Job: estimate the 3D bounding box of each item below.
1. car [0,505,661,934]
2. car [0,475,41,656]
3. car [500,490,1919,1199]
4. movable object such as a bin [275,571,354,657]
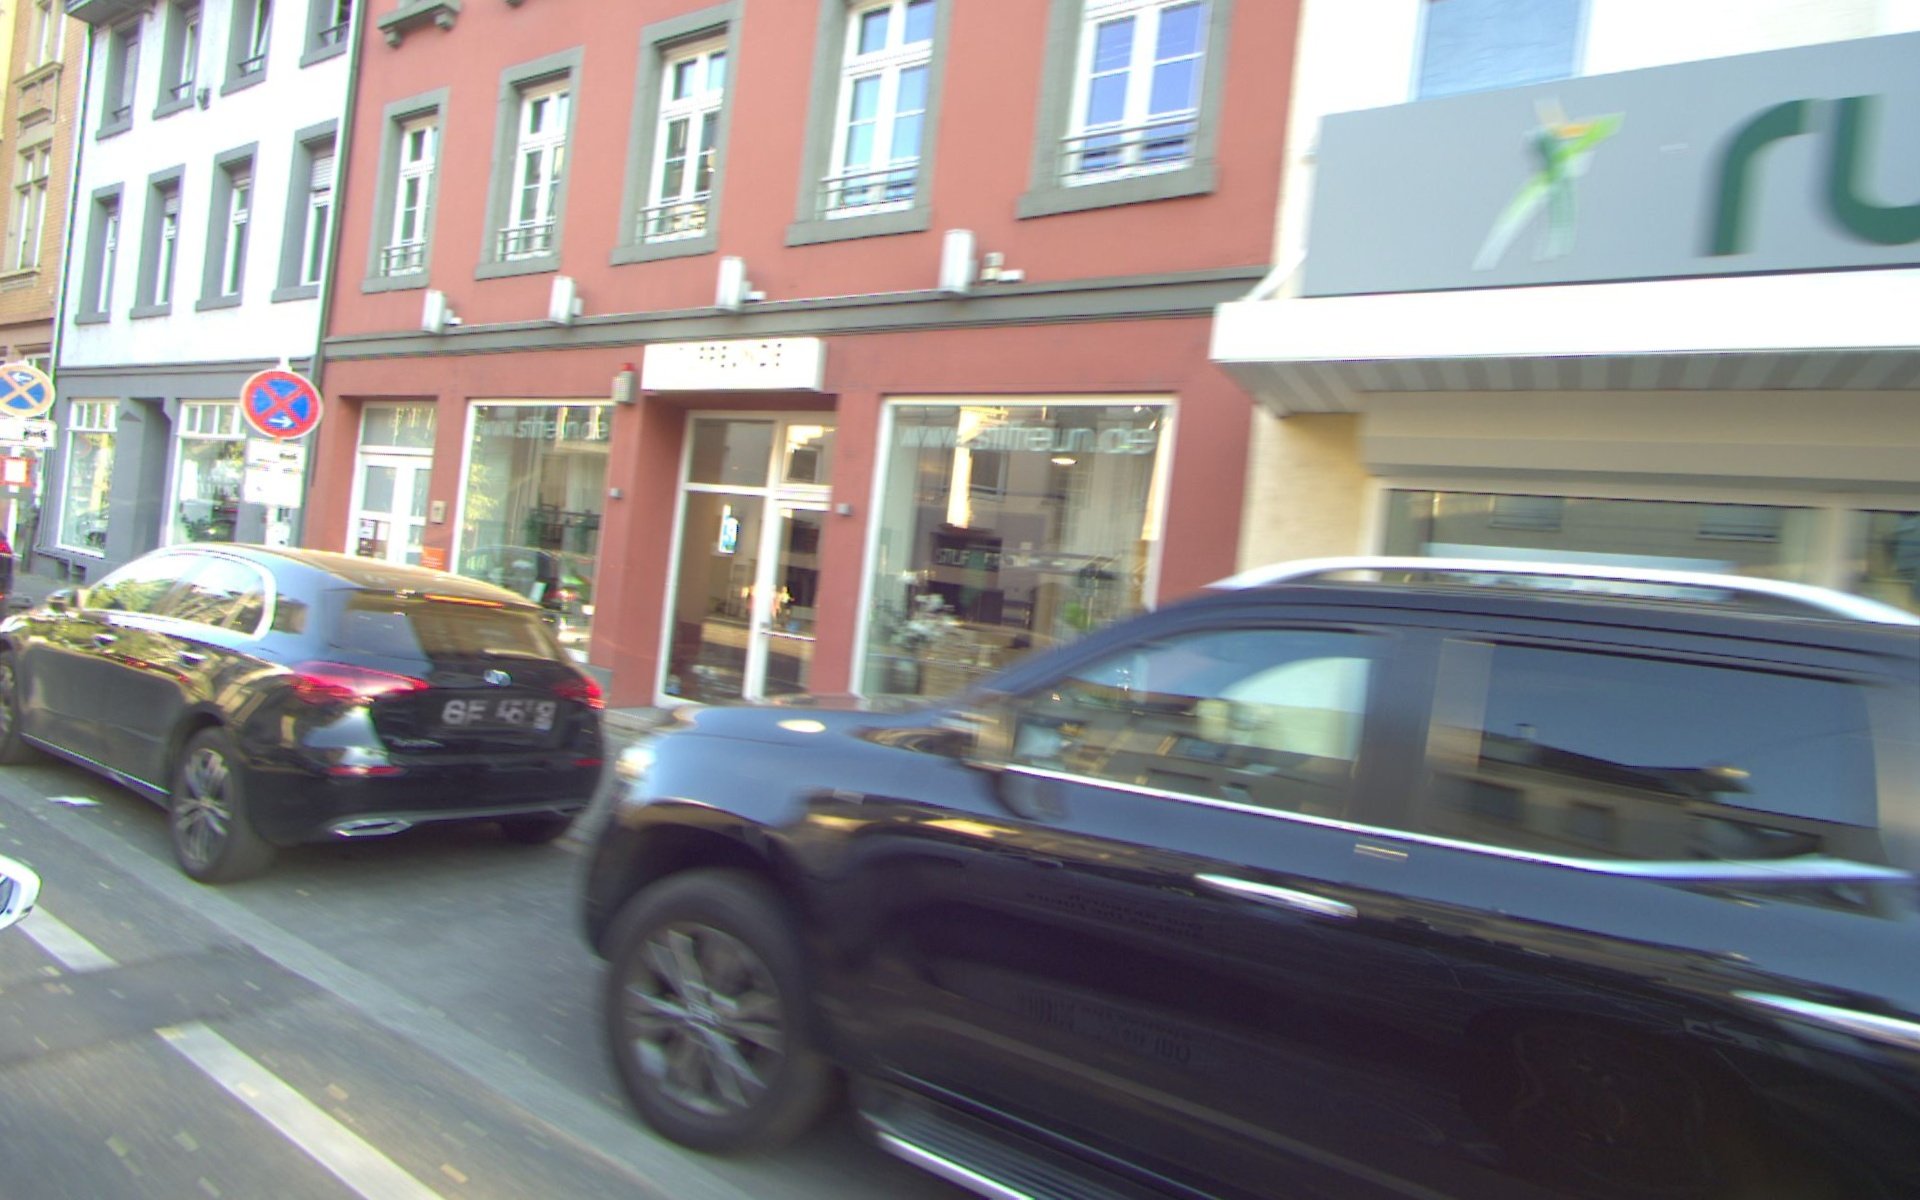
[{"bbox_3d":[-3.907,0.421,5.722,4.236,1.501,1.765,6,-2,33],"label":"car"},{"bbox_3d":[-11.133,-0.580,9.995,4.137,1.687,1.815,6,-2,32],"label":"car"},{"bbox_3d":[1.316,0.872,2.574,4.974,1.775,1.887,6,-2,31],"label":"car"},{"bbox_3d":[-7.691,0.173,11.992,0.477,0.949,0.554,7,0,30],"label":"movable object such as a bin"}]
